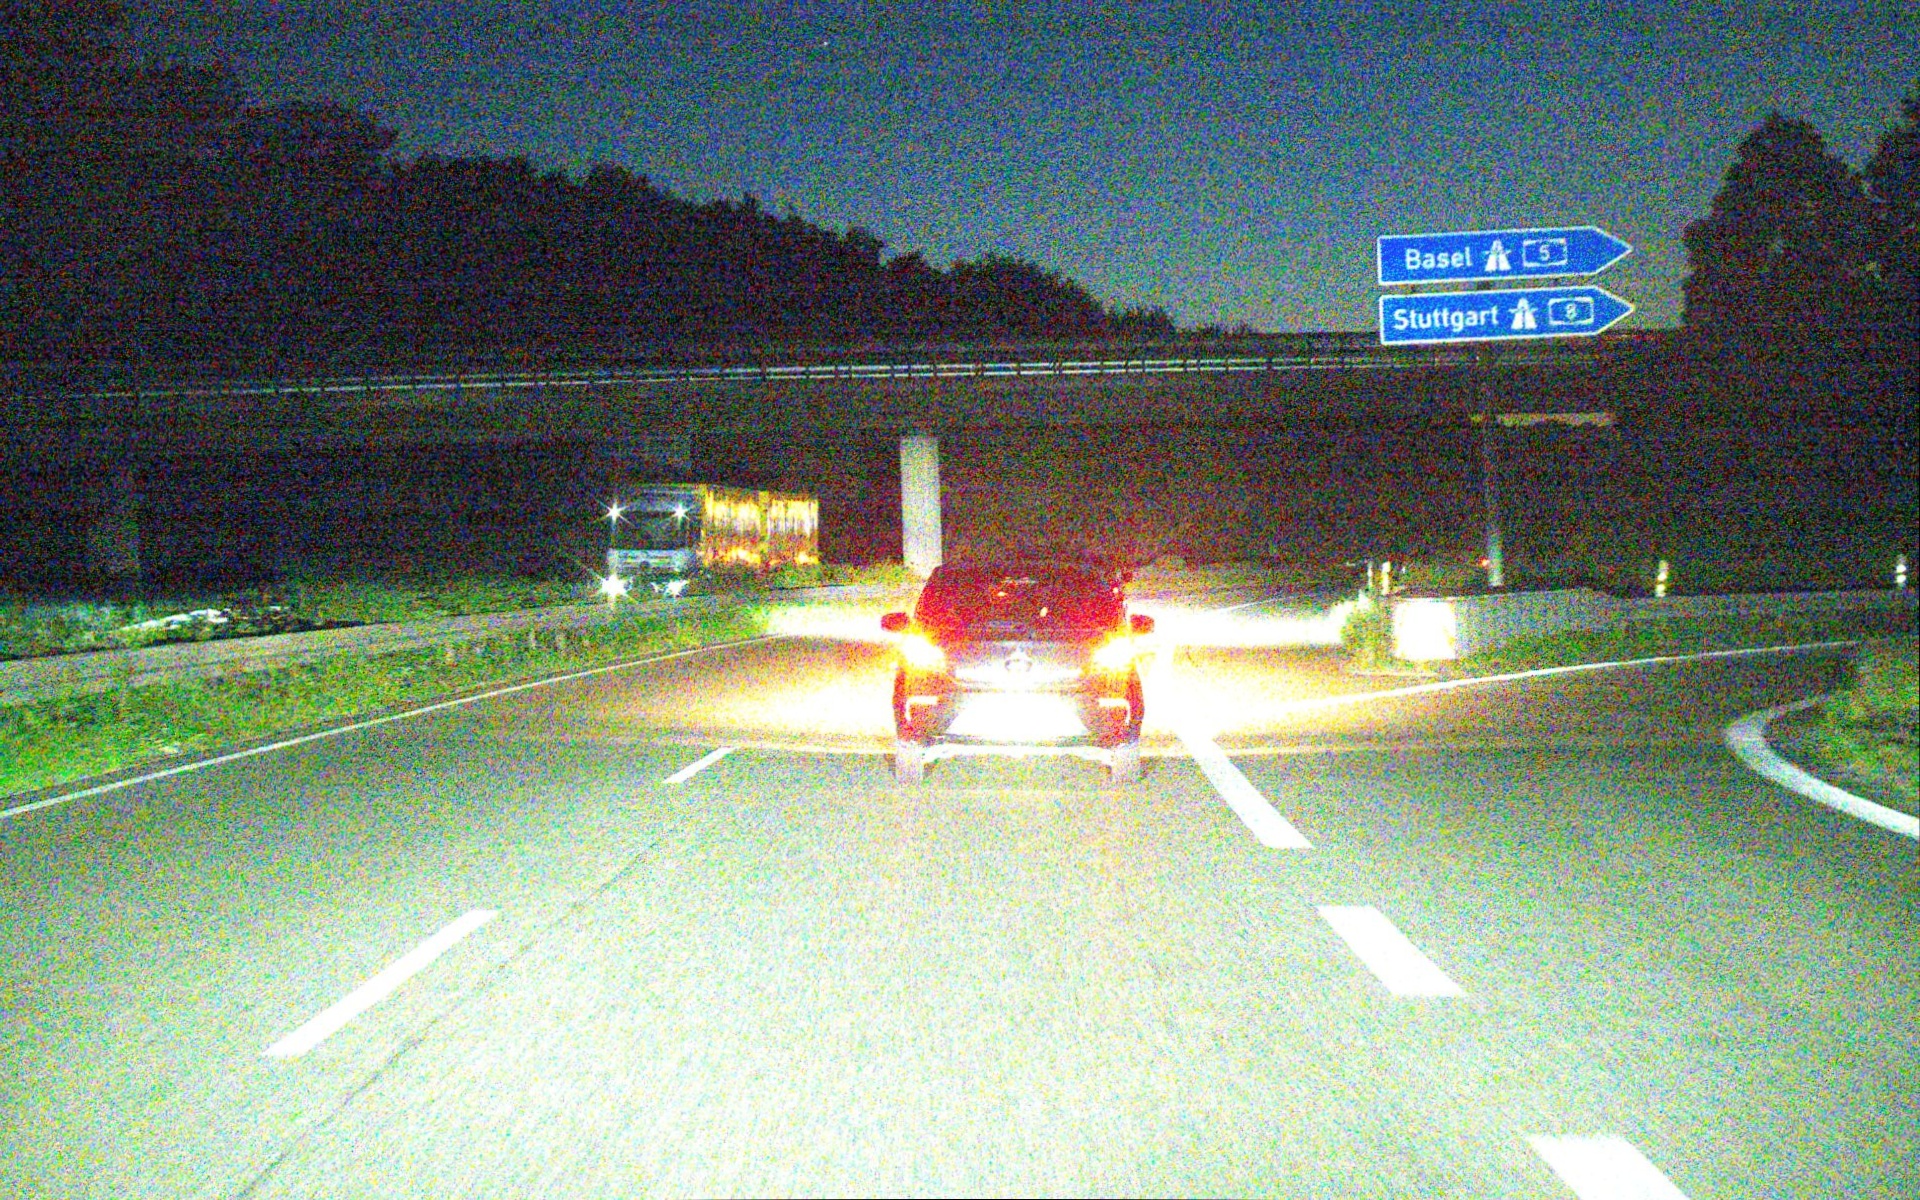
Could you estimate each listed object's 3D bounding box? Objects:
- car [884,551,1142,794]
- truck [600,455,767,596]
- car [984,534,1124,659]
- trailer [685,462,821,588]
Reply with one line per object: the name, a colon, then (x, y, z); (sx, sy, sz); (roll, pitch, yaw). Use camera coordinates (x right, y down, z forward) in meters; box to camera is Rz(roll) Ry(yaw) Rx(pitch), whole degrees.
car: (0.287, 0.429, 23.604); (1.588, 1.503, 4.000); (0, 1, -2)
truck: (-8.314, -2.260, 104.912); (2.681, 4.030, 10.651); (-1, 1, 8)
car: (1.350, -0.092, 49.545); (1.906, 1.692, 4.000); (-1, 1, 1)
trailer: (-6.806, -2.492, 114.600); (2.718, 3.943, 9.045); (-1, 1, 8)
